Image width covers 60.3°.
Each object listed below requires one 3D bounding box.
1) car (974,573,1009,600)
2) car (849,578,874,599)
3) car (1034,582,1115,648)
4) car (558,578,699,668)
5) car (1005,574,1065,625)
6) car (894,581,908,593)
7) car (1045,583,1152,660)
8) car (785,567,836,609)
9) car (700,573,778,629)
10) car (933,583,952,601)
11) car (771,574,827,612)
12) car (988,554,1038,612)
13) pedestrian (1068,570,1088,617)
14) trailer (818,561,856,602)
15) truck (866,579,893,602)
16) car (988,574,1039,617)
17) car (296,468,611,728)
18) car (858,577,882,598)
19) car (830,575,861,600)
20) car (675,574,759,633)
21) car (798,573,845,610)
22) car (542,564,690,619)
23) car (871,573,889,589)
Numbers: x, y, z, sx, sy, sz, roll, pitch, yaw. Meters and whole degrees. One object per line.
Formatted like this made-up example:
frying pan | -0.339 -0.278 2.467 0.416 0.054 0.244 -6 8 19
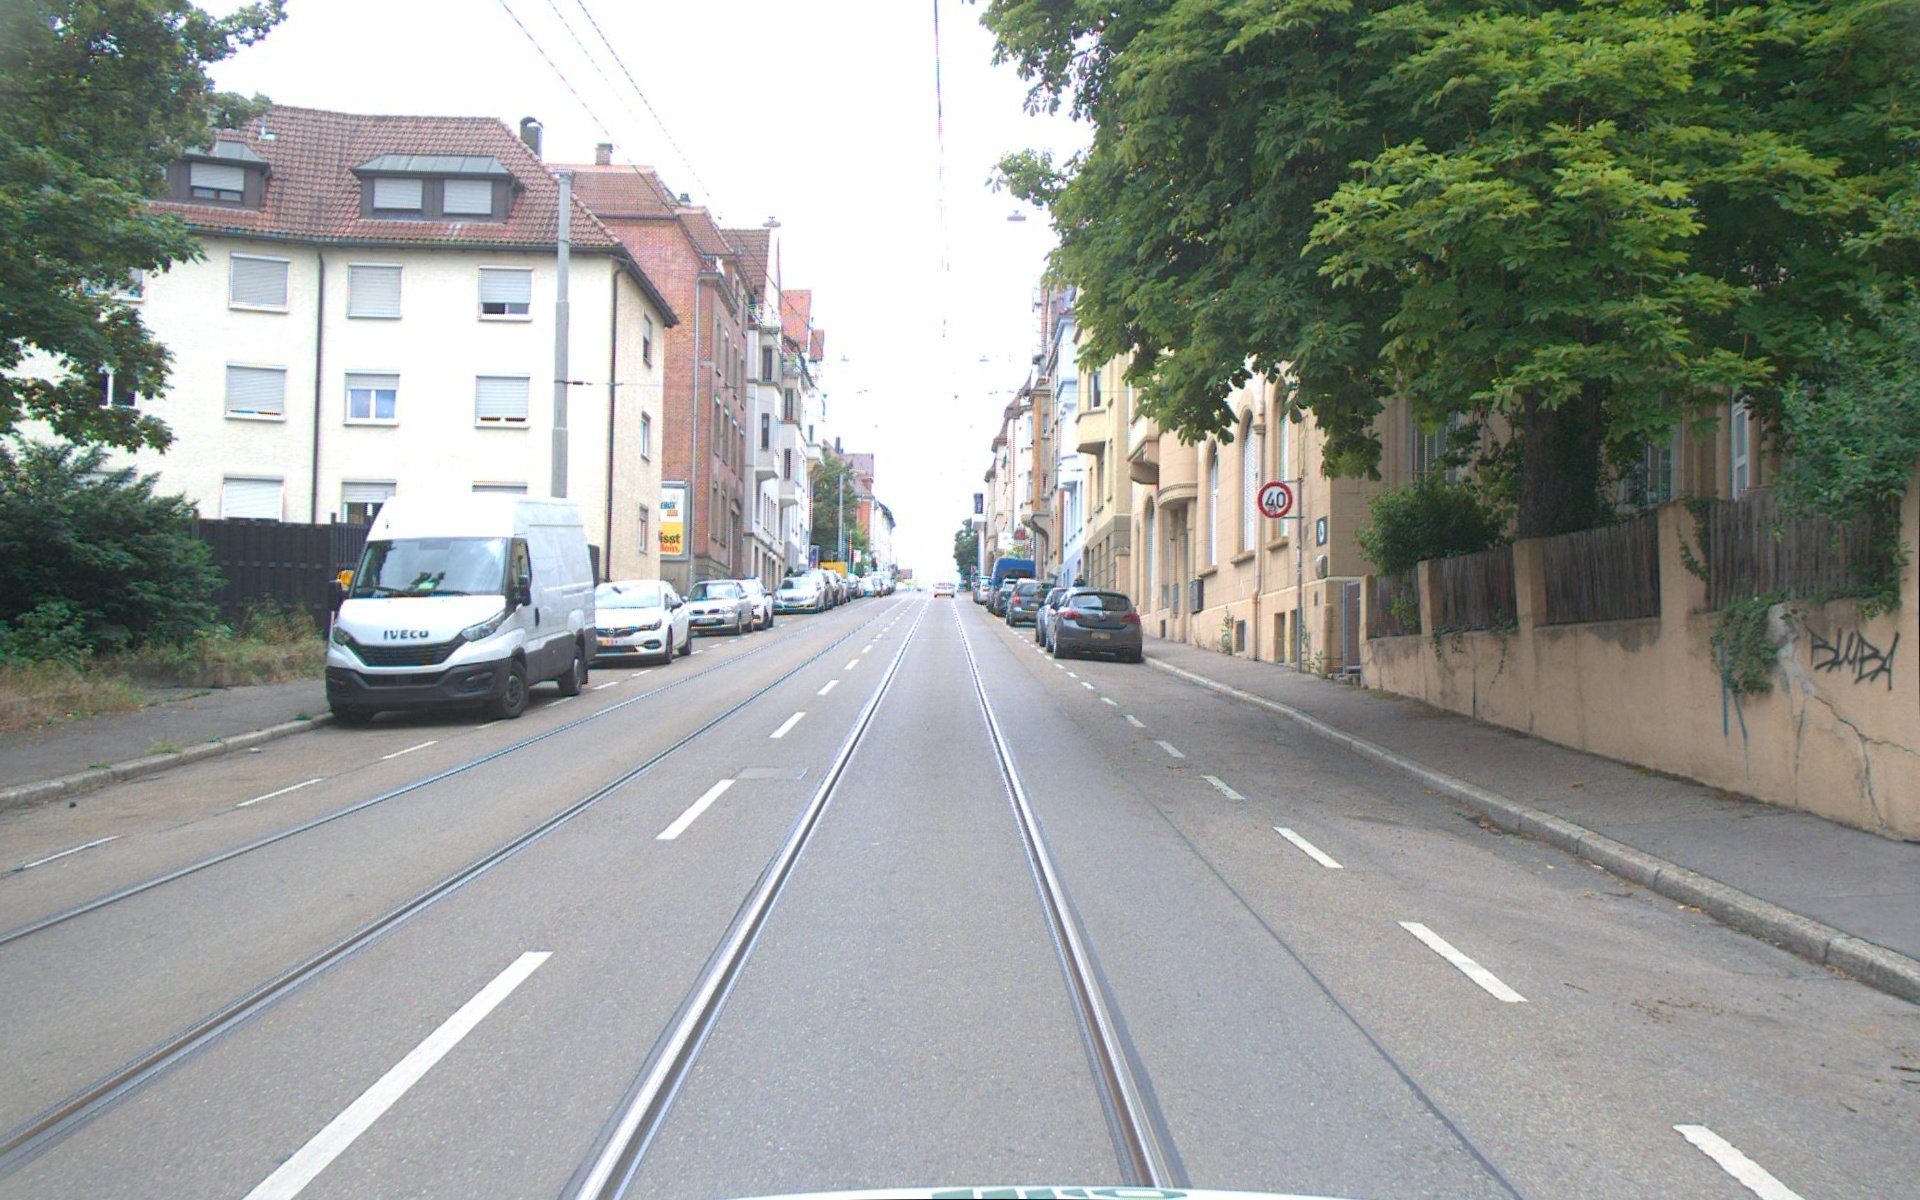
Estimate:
car | 1.792 -0.800 95.202 1.715 1.414 4.306 3 0 -2
car | -7.808 -0.886 130.942 1.662 1.583 3.850 1 0 1
car | 2.776 0.342 40.728 1.660 1.428 3.667 3 1 0
car | -5.921 0.362 30.033 1.684 1.427 4.313 -2 1 -1
car | 2.501 -0.035 55.930 1.790 1.545 4.028 3 1 0
car | -8.322 -1.855 234.919 1.817 1.635 4.296 1 0 -1
car | 2.833 0.413 34.638 1.802 1.427 4.167 3 0 -1
car | -6.556 -0.545 72.859 1.790 1.748 4.913 -1 1 0
car | -6.356 -0.007 47.985 1.791 1.454 4.625 -3 1 -3
car | -1.603 -0.720 148.049 1.638 1.539 3.796 1 1 -2
car | -6.522 -0.327 67.388 1.790 1.454 4.839 -1 1 0
car | 2.318 -0.731 73.538 1.953 2.418 5.055 1 0 -1
pedestrian | 4.410 -0.250 61.875 0.530 1.711 0.515 -3 -2 -9
trailer | -6.769 -1.051 91.381 1.713 2.193 4.071 -1 1 0
truck | -8.117 -0.926 167.228 2.233 2.226 8.025 1 0 0
car | 2.167 -0.198 68.115 1.744 1.557 4.191 4 0 -1
car | -5.964 -0.072 20.464 2.115 2.652 6.217 -2 1 -2
car | -7.689 -1.056 142.123 1.708 1.766 4.520 -1 0 1
car | -7.129 -0.772 103.116 1.662 1.494 3.023 -1 0 0
car | -6.355 0.067 43.586 1.568 1.392 3.807 -3 1 0
car | -6.728 -0.457 80.824 1.835 1.693 4.892 -1 1 0
car | -12.614 -0.328 60.924 5.072 1.850 1.939 -1 1 -5
car | -7.779 -1.852 160.492 1.663 1.458 4.480 -1 1 -2
